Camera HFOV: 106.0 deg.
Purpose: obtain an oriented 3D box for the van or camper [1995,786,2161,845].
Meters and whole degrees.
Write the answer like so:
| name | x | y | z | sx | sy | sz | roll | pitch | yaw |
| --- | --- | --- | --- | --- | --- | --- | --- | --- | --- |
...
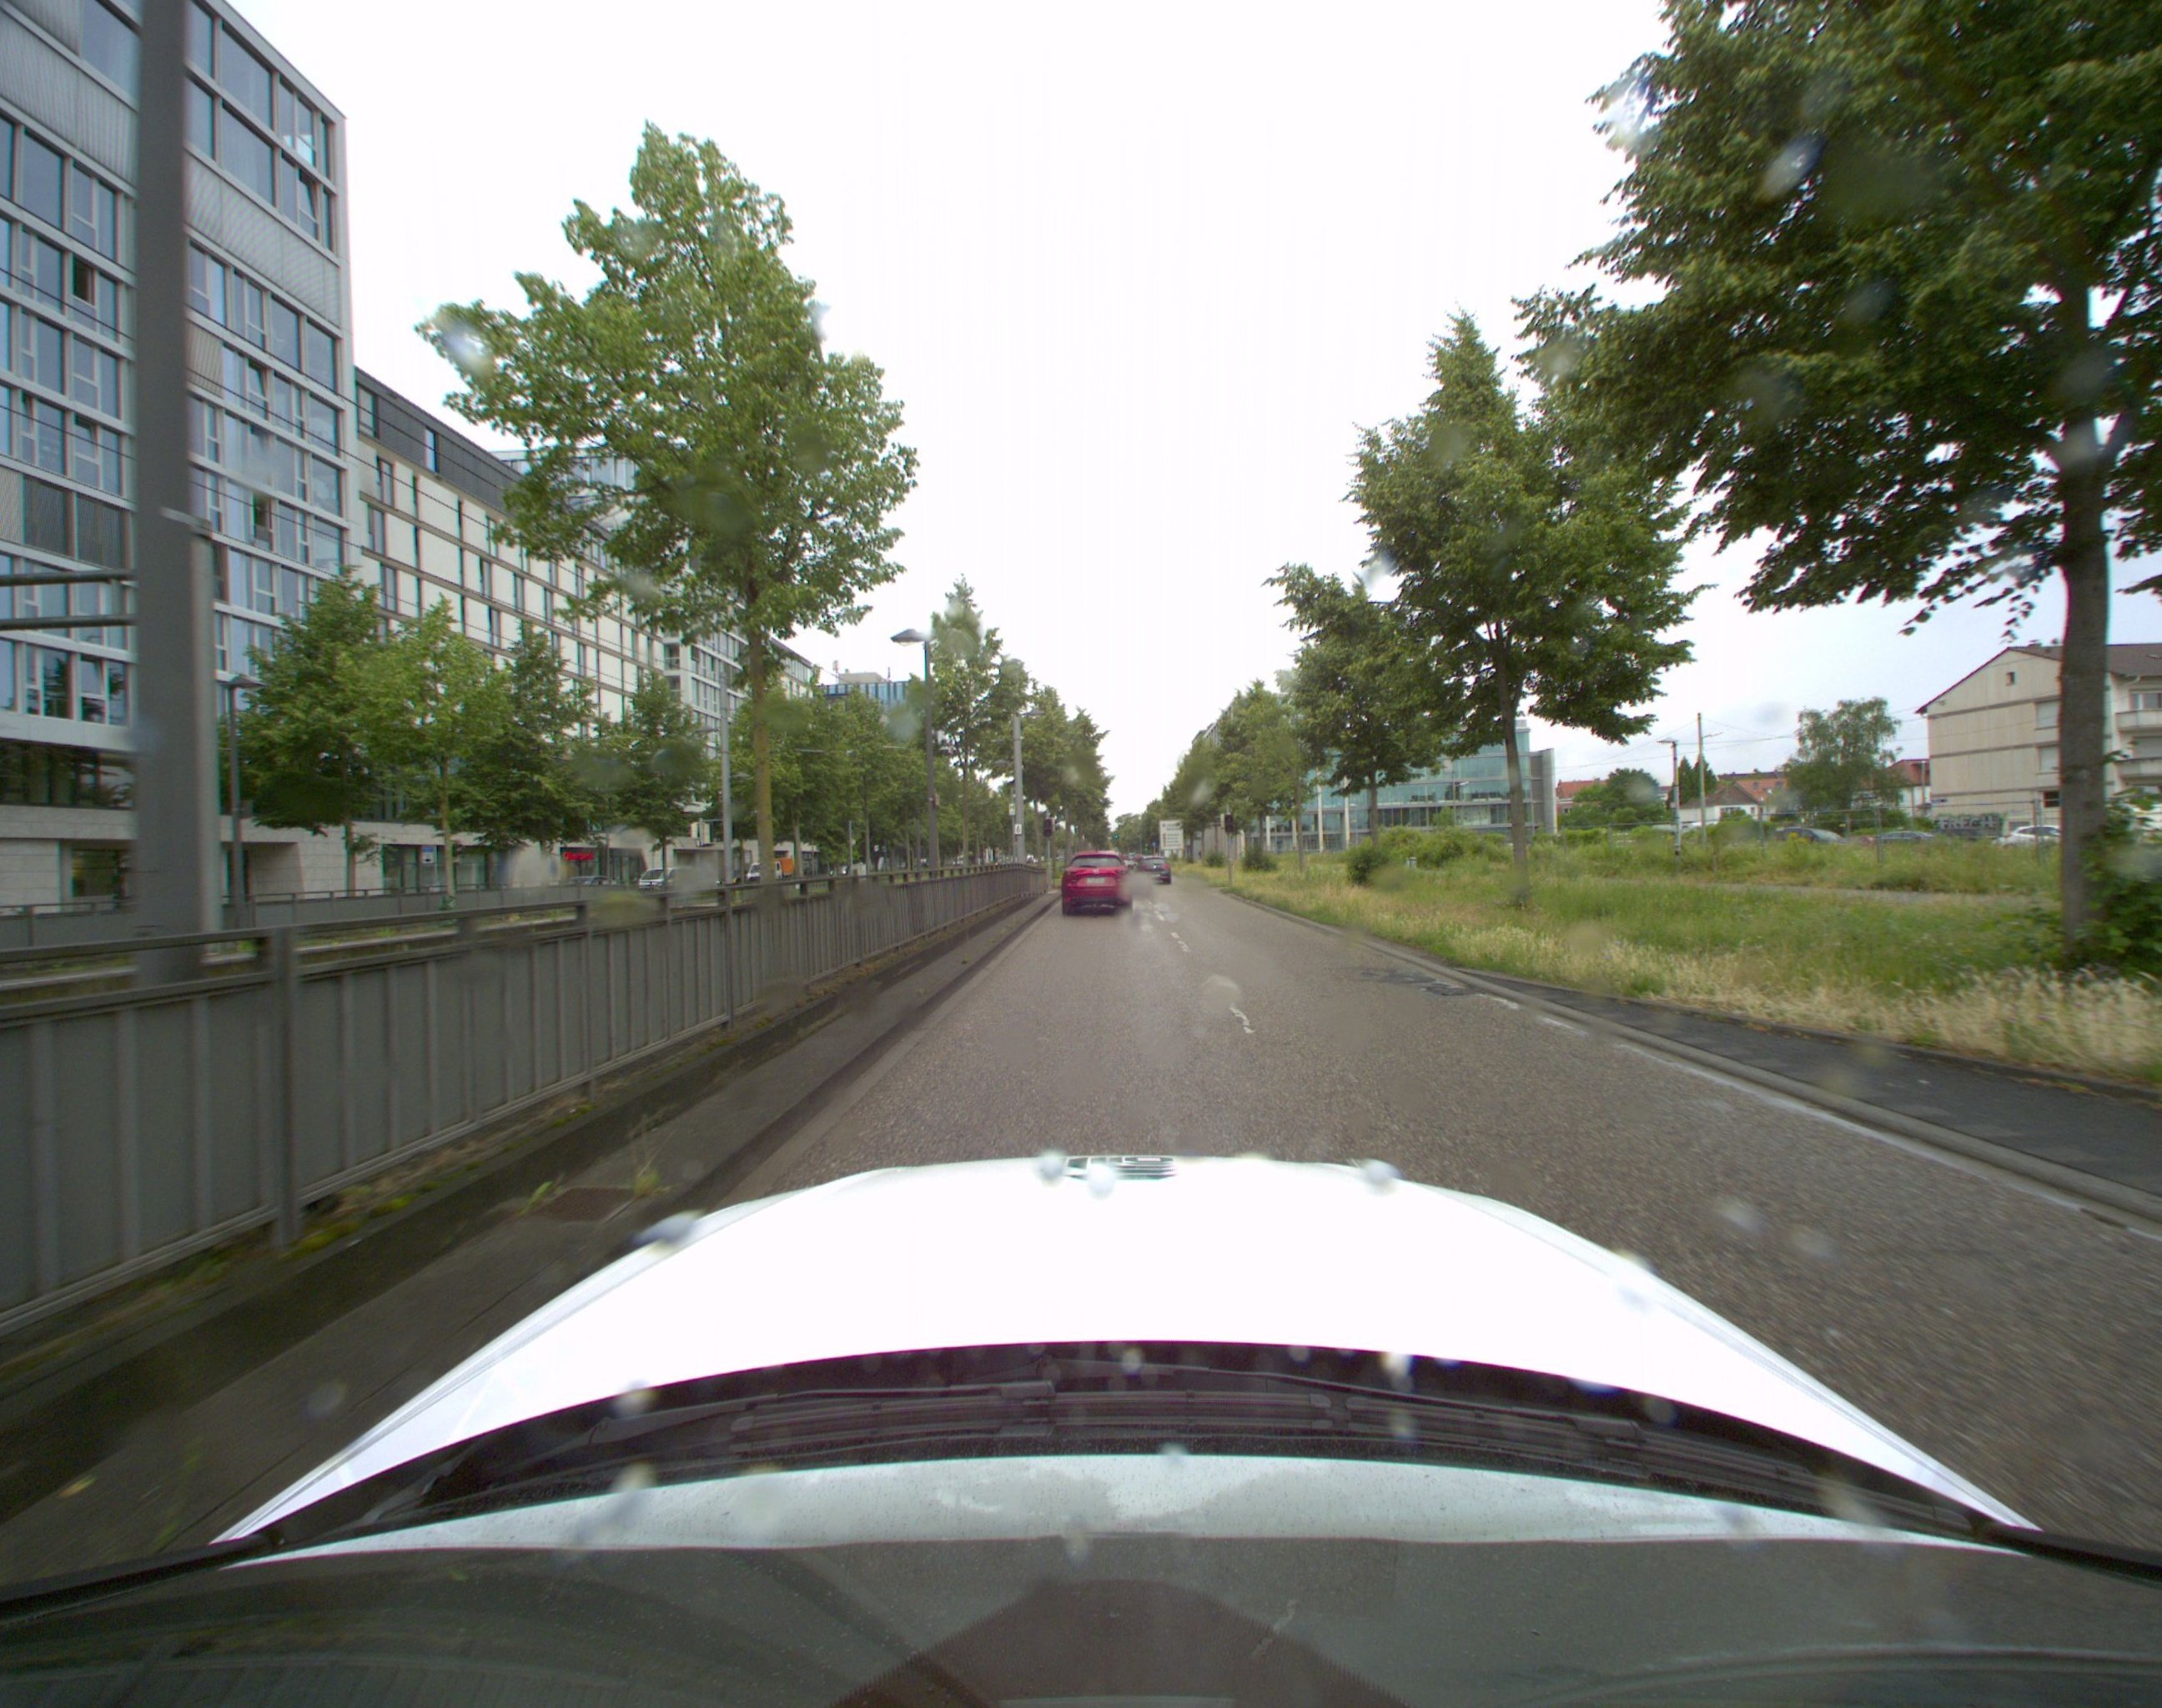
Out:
| name | x | y | z | sx | sy | sz | roll | pitch | yaw |
| --- | --- | --- | --- | --- | --- | --- | --- | --- | --- |
| van or camper | 52.307 | -1.924 | 42.323 | 2.301 | 2.689 | 6.395 | -2 | 0 | 0 |

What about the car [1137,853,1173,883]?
| name | x | y | z | sx | sy | sz | roll | pitch | yaw |
| --- | --- | --- | --- | --- | --- | --- | --- | --- | --- |
| car | 3.855 | 0.707 | 42.883 | 1.736 | 1.465 | 3.784 | -2 | 0 | 3 |

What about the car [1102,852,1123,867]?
| name | x | y | z | sx | sy | sz | roll | pitch | yaw |
| --- | --- | --- | --- | --- | --- | --- | --- | --- | --- |
| car | 3.228 | 0.538 | 83.682 | 1.961 | 1.437 | 4.552 | 0 | 0 | 1 |

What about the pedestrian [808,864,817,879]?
| name | x | y | z | sx | sy | sz | roll | pitch | yaw |
| --- | --- | --- | --- | --- | --- | --- | --- | --- | --- |
| pedestrian | -34.377 | 2.252 | 104.305 | 0.789 | 1.981 | 0.858 | -2 | 0 | 9 |

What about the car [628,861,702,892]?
| name | x | y | z | sx | sy | sz | roll | pitch | yaw |
| --- | --- | --- | --- | --- | --- | --- | --- | --- | --- |
| car | -26.871 | 1.405 | 52.869 | 1.986 | 1.852 | 5.166 | -2 | 0 | 1 |

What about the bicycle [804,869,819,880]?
| name | x | y | z | sx | sy | sz | roll | pitch | yaw |
| --- | --- | --- | --- | --- | --- | --- | --- | --- | --- |
| bicycle | -24.246 | 1.849 | 73.235 | 0.596 | 0.945 | 1.760 | -2 | 0 | 5 |

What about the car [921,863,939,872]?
| name | x | y | z | sx | sy | sz | roll | pitch | yaw |
| --- | --- | --- | --- | --- | --- | --- | --- | --- | --- |
| car | -24.008 | 2.150 | 129.377 | 1.986 | 1.378 | 4.002 | -2 | 0 | 2 |

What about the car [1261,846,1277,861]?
| name | x | y | z | sx | sy | sz | roll | pitch | yaw |
| --- | --- | --- | --- | --- | --- | --- | --- | --- | --- |
| car | 25.307 | -0.041 | 109.931 | 1.844 | 1.581 | 4.008 | -1 | -5 | 9 |

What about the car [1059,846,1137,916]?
| name | x | y | z | sx | sy | sz | roll | pitch | yaw |
| --- | --- | --- | --- | --- | --- | --- | --- | --- | --- |
| car | 0.473 | 0.677 | 22.334 | 1.891 | 1.677 | 4.001 | -2 | 0 | 1 |

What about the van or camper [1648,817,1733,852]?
| name | x | y | z | sx | sy | sz | roll | pitch | yaw |
| --- | --- | --- | --- | --- | --- | --- | --- | --- | --- |
| van or camper | 57.551 | -1.776 | 77.117 | 2.897 | 2.994 | 6.775 | -2 | 0 | 0 |

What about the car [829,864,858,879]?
| name | x | y | z | sx | sy | sz | roll | pitch | yaw |
| --- | --- | --- | --- | --- | --- | --- | --- | --- | --- |
| car | -25.355 | 1.821 | 87.047 | 1.848 | 1.465 | 3.989 | -2 | 0 | 1 |

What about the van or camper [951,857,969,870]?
| name | x | y | z | sx | sy | sz | roll | pitch | yaw |
| --- | --- | --- | --- | --- | --- | --- | --- | --- | --- |
| van or camper | -23.149 | 1.734 | 155.991 | 2.424 | 2.315 | 5.853 | -2 | 0 | 2 |

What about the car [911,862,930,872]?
| name | x | y | z | sx | sy | sz | roll | pitch | yaw |
| --- | --- | --- | --- | --- | --- | --- | --- | --- | --- |
| car | -24.277 | 1.982 | 123.153 | 1.986 | 1.378 | 4.002 | -2 | 0 | 2 |

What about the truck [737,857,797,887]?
| name | x | y | z | sx | sy | sz | roll | pitch | yaw |
| --- | --- | --- | --- | --- | --- | --- | --- | --- | --- |
| truck | -26.716 | 1.493 | 69.547 | 2.417 | 2.291 | 6.311 | -2 | 0 | 2 |
